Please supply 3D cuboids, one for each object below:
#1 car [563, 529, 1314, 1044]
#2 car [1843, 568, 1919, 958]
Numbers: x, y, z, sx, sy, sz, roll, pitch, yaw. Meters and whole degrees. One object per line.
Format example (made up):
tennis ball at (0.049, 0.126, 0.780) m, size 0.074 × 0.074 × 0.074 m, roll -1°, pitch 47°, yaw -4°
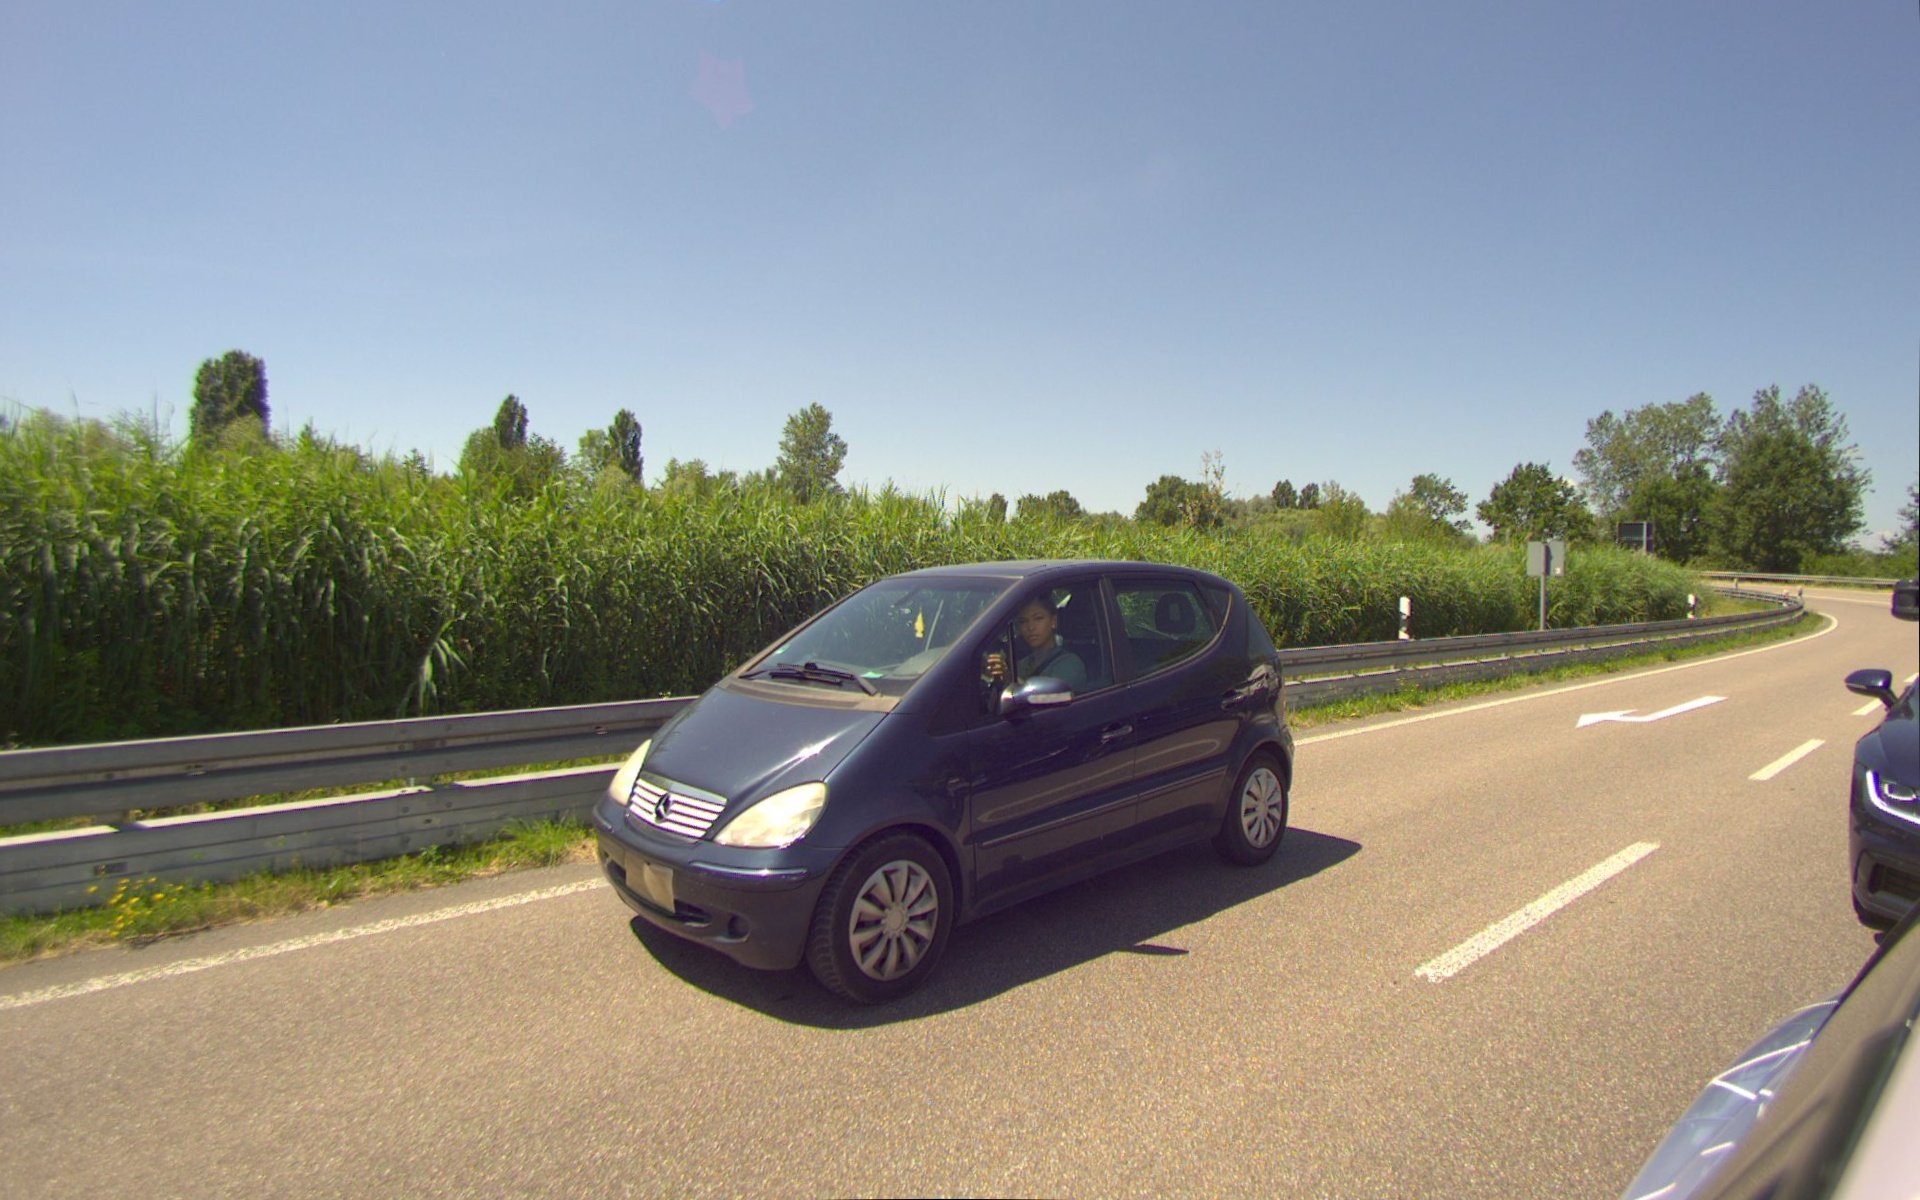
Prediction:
car at (0.104, 0.553, 4.994) m, size 3.493 × 1.620 × 1.670 m, roll -1°, pitch 1°, yaw -43°
car at (5.718, 0.598, 4.732) m, size 4.338 × 1.481 × 1.818 m, roll -1°, pitch 1°, yaw -41°
